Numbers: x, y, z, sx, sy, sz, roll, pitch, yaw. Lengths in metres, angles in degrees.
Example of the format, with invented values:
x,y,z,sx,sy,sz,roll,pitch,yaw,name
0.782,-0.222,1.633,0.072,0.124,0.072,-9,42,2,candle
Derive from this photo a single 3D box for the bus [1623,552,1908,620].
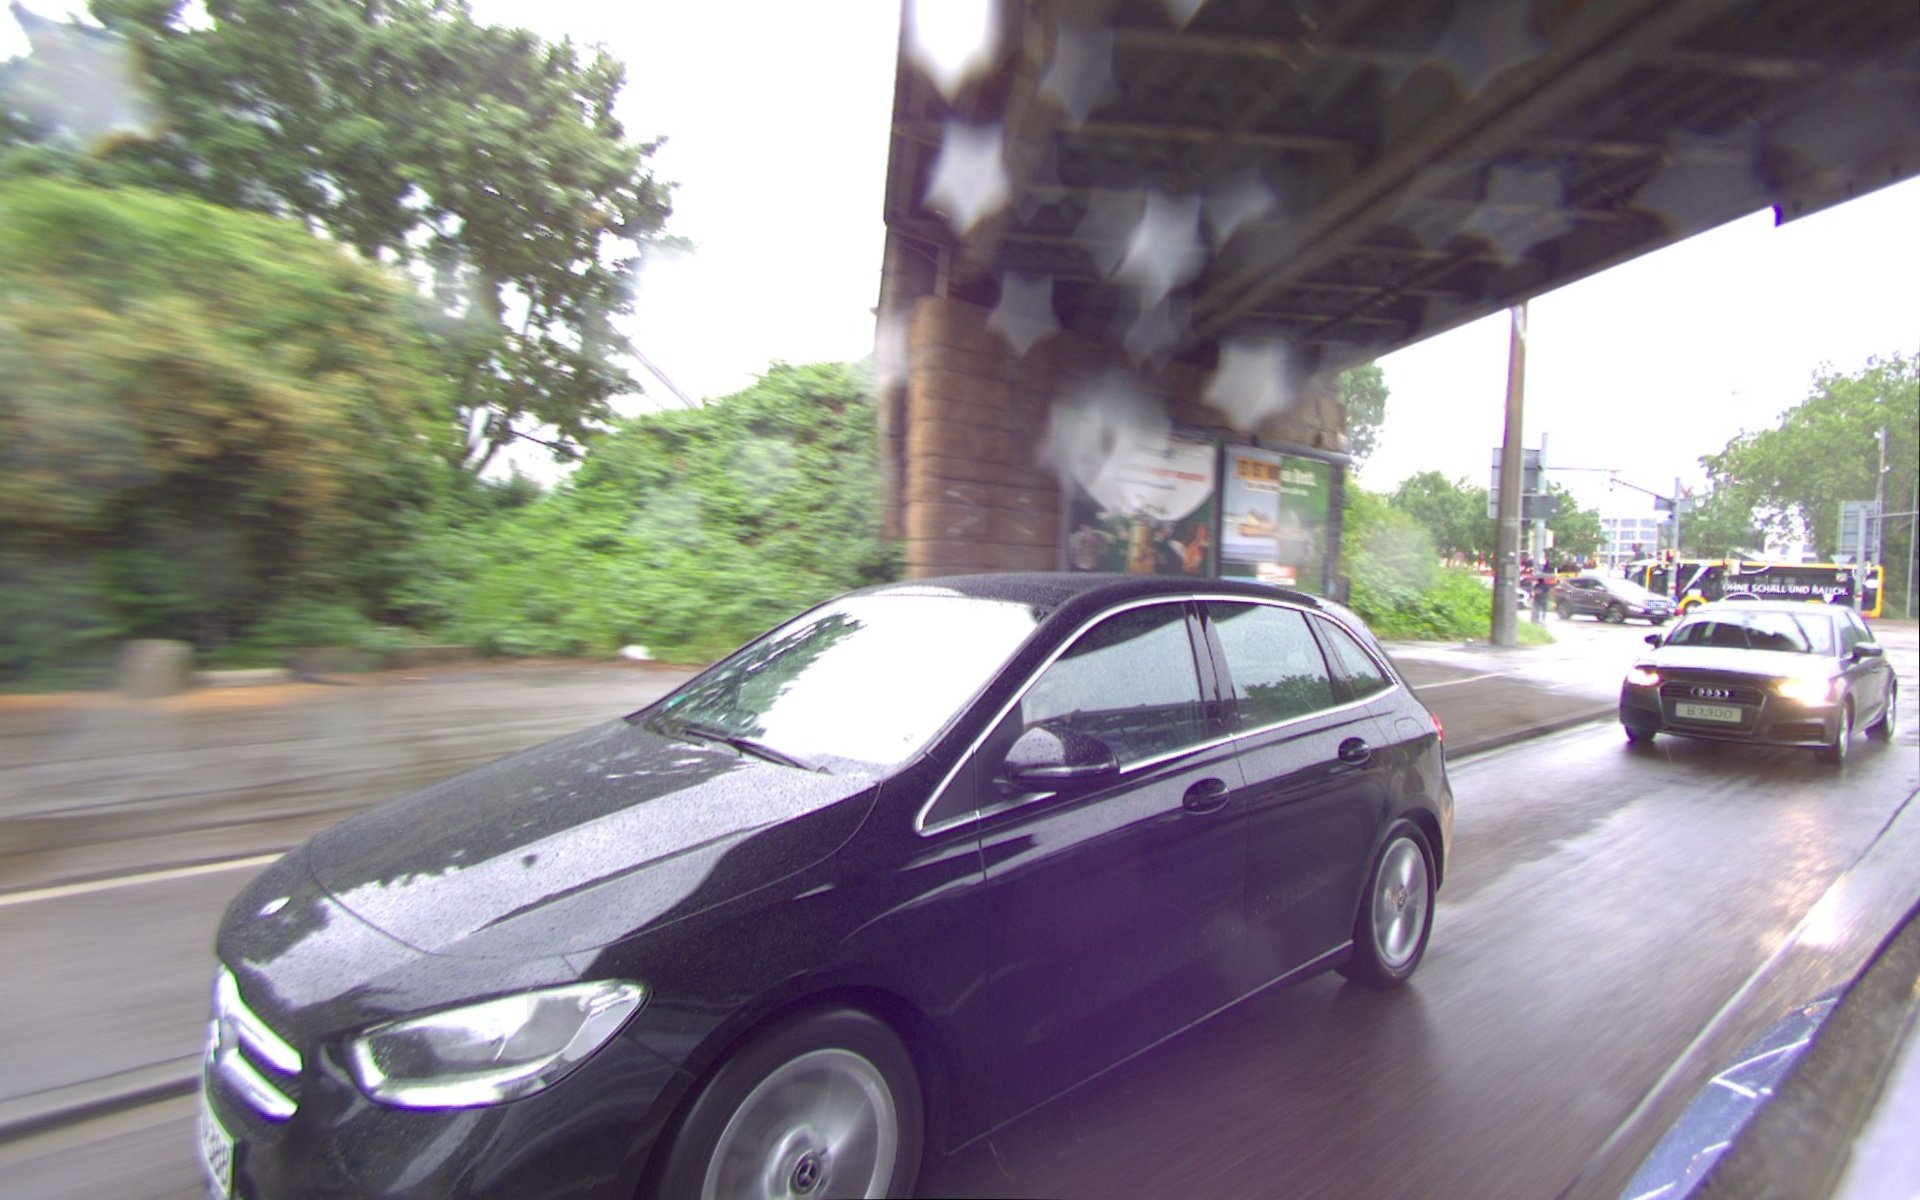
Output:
x,y,z,sx,sy,sz,roll,pitch,yaw,name
44.476,-0.863,56.358,12.092,3.308,3.266,2,2,10,bus

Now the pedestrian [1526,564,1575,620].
x,y,z,sx,sy,sz,roll,pitch,yaw,name
19.135,-0.273,32.804,0.984,1.740,0.822,1,2,-14,pedestrian

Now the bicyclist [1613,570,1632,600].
x,y,z,sx,sy,sz,roll,pitch,yaw,name
43.065,-1.001,65.791,0.754,1.904,0.623,1,2,-7,bicyclist

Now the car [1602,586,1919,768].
x,y,z,sx,sy,sz,roll,pitch,yaw,name
8.103,0.598,10.097,3.687,1.415,1.840,-1,2,-40,car

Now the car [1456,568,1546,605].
x,y,z,sx,sy,sz,roll,pitch,yaw,name
28.603,-0.769,53.692,2.133,1.741,4.309,2,3,-4,car

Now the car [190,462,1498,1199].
x,y,z,sx,sy,sz,roll,pitch,yaw,name
0.004,0.522,3.404,4.017,1.542,1.874,-1,3,-42,car

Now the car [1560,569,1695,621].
x,y,z,sx,sy,sz,roll,pitch,yaw,name
24.831,-0.232,37.833,1.988,1.677,4.068,1,3,-6,car

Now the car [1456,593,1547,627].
x,y,z,sx,sy,sz,roll,pitch,yaw,name
26.252,0.463,49.230,1.795,1.374,4.008,1,3,-9,car
